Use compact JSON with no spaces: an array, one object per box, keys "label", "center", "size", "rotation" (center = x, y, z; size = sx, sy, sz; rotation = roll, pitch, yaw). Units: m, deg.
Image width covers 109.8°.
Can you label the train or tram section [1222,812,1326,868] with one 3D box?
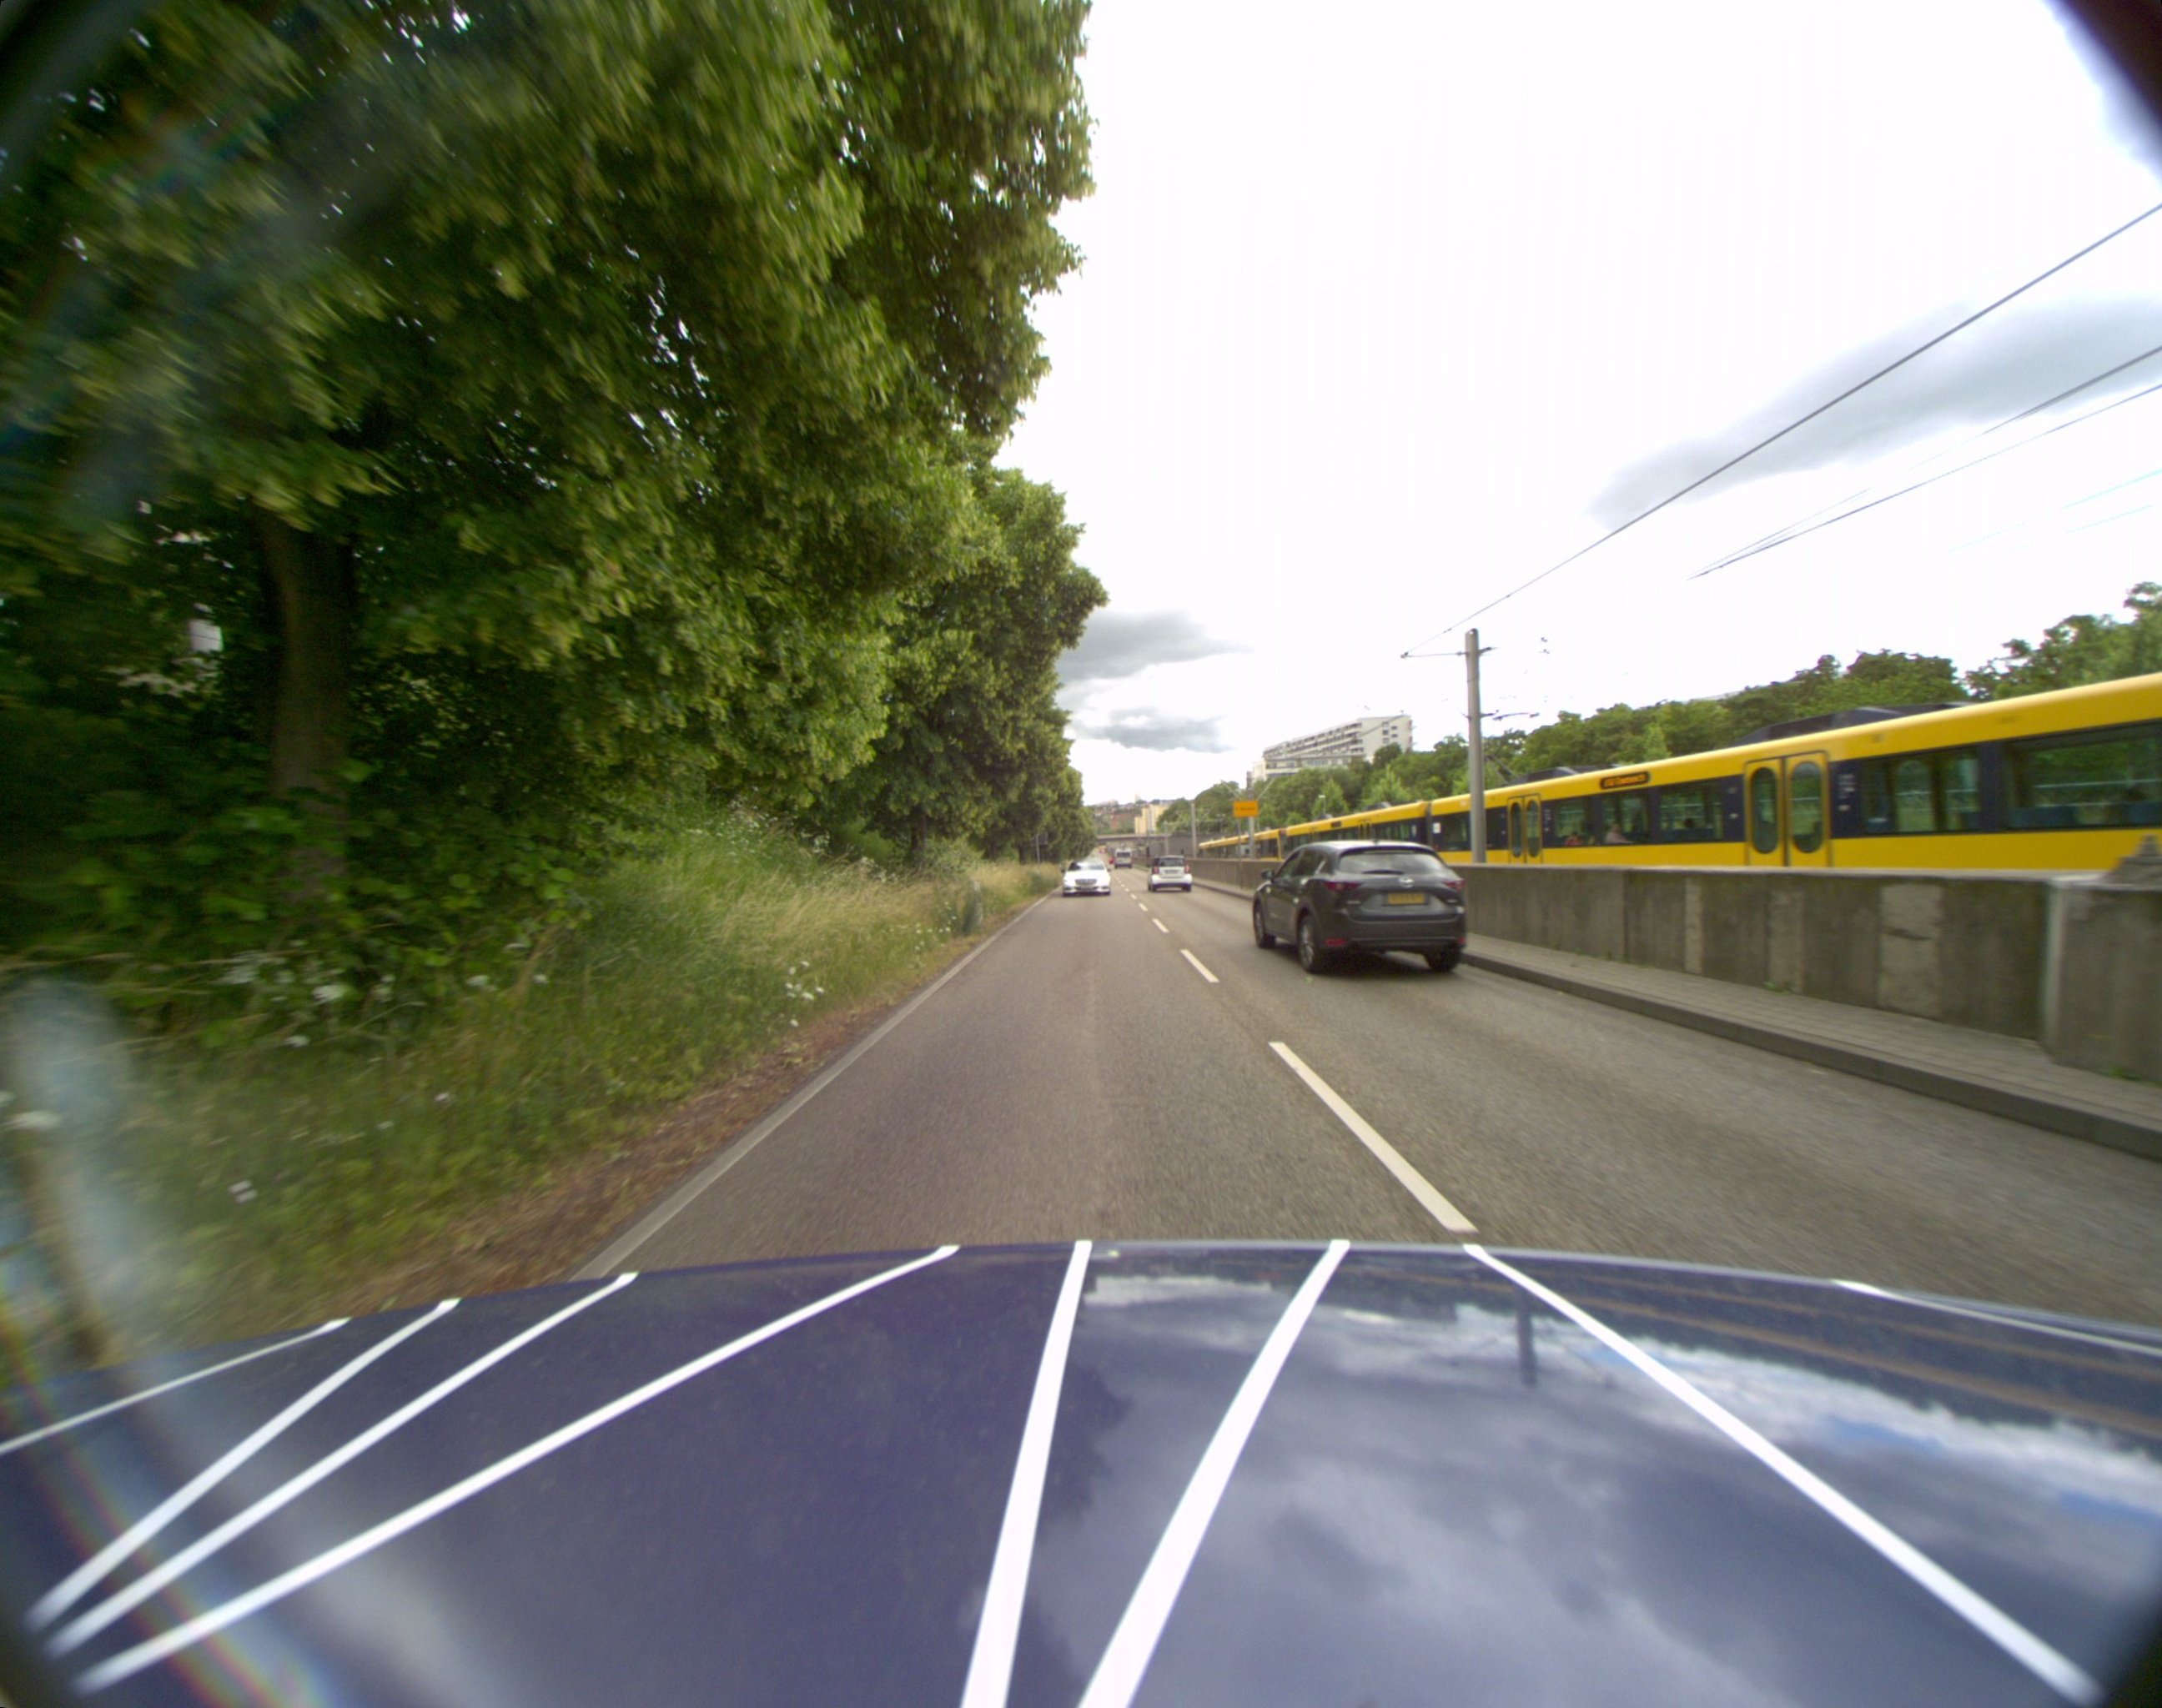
[{"label":"train or tram section","center":[13.343,-0.895,55.286],"size":[2.742,3.196,19.915],"rotation":[-3,0,1]}]

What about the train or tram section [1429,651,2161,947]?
[{"label":"train or tram section","center":[12.889,-0.710,15.487],"size":[2.788,3.175,18.470],"rotation":[-2,1,-1]}]

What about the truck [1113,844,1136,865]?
[{"label":"truck","center":[5.478,0.038,96.350],"size":[2.456,2.412,8.211],"rotation":[-2,1,1]}]

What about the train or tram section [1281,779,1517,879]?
[{"label":"train or tram section","center":[12.808,-0.911,34.018],"size":[2.788,3.175,18.471],"rotation":[-2,1,0]}]

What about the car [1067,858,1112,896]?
[{"label":"car","center":[0.419,0.924,32.256],"size":[1.739,1.366,4.000],"rotation":[-2,1,2]}]

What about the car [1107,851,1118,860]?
[{"label":"car","center":[6.055,0.320,145.982],"size":[1.998,1.630,4.000],"rotation":[-1,0,1]}]

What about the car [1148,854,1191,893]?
[{"label":"car","center":[3.718,0.784,32.251],"size":[1.598,1.531,2.697],"rotation":[-1,0,2]}]

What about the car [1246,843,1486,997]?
[{"label":"car","center":[3.619,0.745,10.506],"size":[1.782,1.677,4.065],"rotation":[-1,0,0]}]

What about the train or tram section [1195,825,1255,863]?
[{"label":"train or tram section","center":[13.720,-0.988,74.084],"size":[2.718,3.172,17.565],"rotation":[-2,1,1]}]
